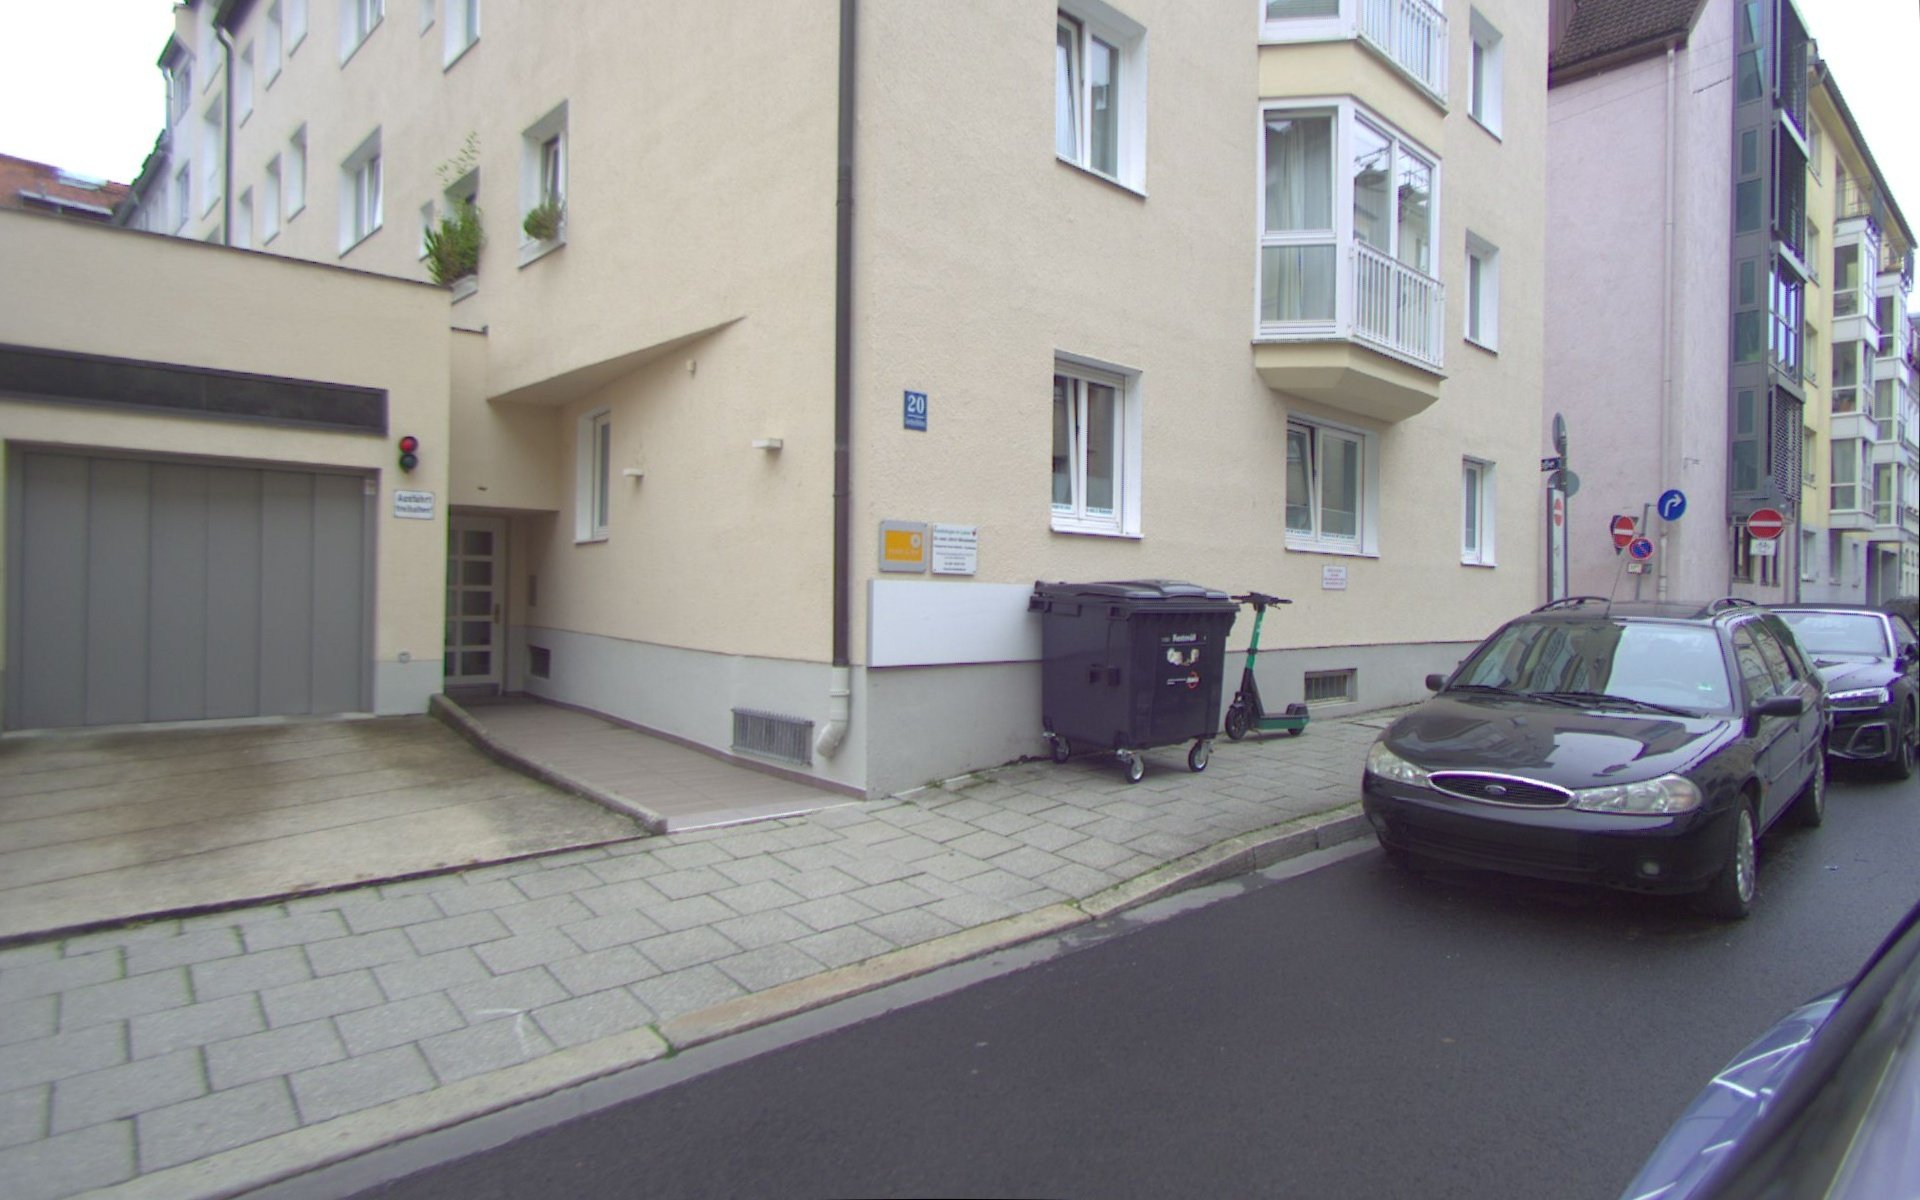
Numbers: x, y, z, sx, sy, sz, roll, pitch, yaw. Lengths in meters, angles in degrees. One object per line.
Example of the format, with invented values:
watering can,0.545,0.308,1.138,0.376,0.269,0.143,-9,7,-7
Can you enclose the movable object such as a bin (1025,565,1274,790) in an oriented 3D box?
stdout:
movable object such as a bin,1.406,0.485,7.457,1.559,1.440,1.034,0,3,-41

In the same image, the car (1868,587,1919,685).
car,18.028,0.591,18.359,4.335,1.642,1.835,0,0,-42

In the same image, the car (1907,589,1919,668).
car,21.946,0.583,21.831,4.249,1.642,1.835,0,0,-42

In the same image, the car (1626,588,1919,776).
car,8.204,0.611,9.766,4.333,1.424,1.836,0,0,-40

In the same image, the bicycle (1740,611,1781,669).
bicycle,16.422,0.801,20.751,1.515,1.136,0.357,1,0,-40

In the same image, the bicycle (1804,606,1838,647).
bicycle,21.236,0.643,24.961,1.420,0.988,0.422,1,0,-40

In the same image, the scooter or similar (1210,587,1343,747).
scooter or similar,2.767,0.542,8.829,1.117,1.282,0.577,0,2,-41

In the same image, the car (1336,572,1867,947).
car,4.165,0.624,6.197,4.456,1.490,1.718,0,0,-44

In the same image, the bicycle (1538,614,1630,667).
bicycle,12.144,0.774,19.714,0.543,0.959,1.448,1,0,-45
